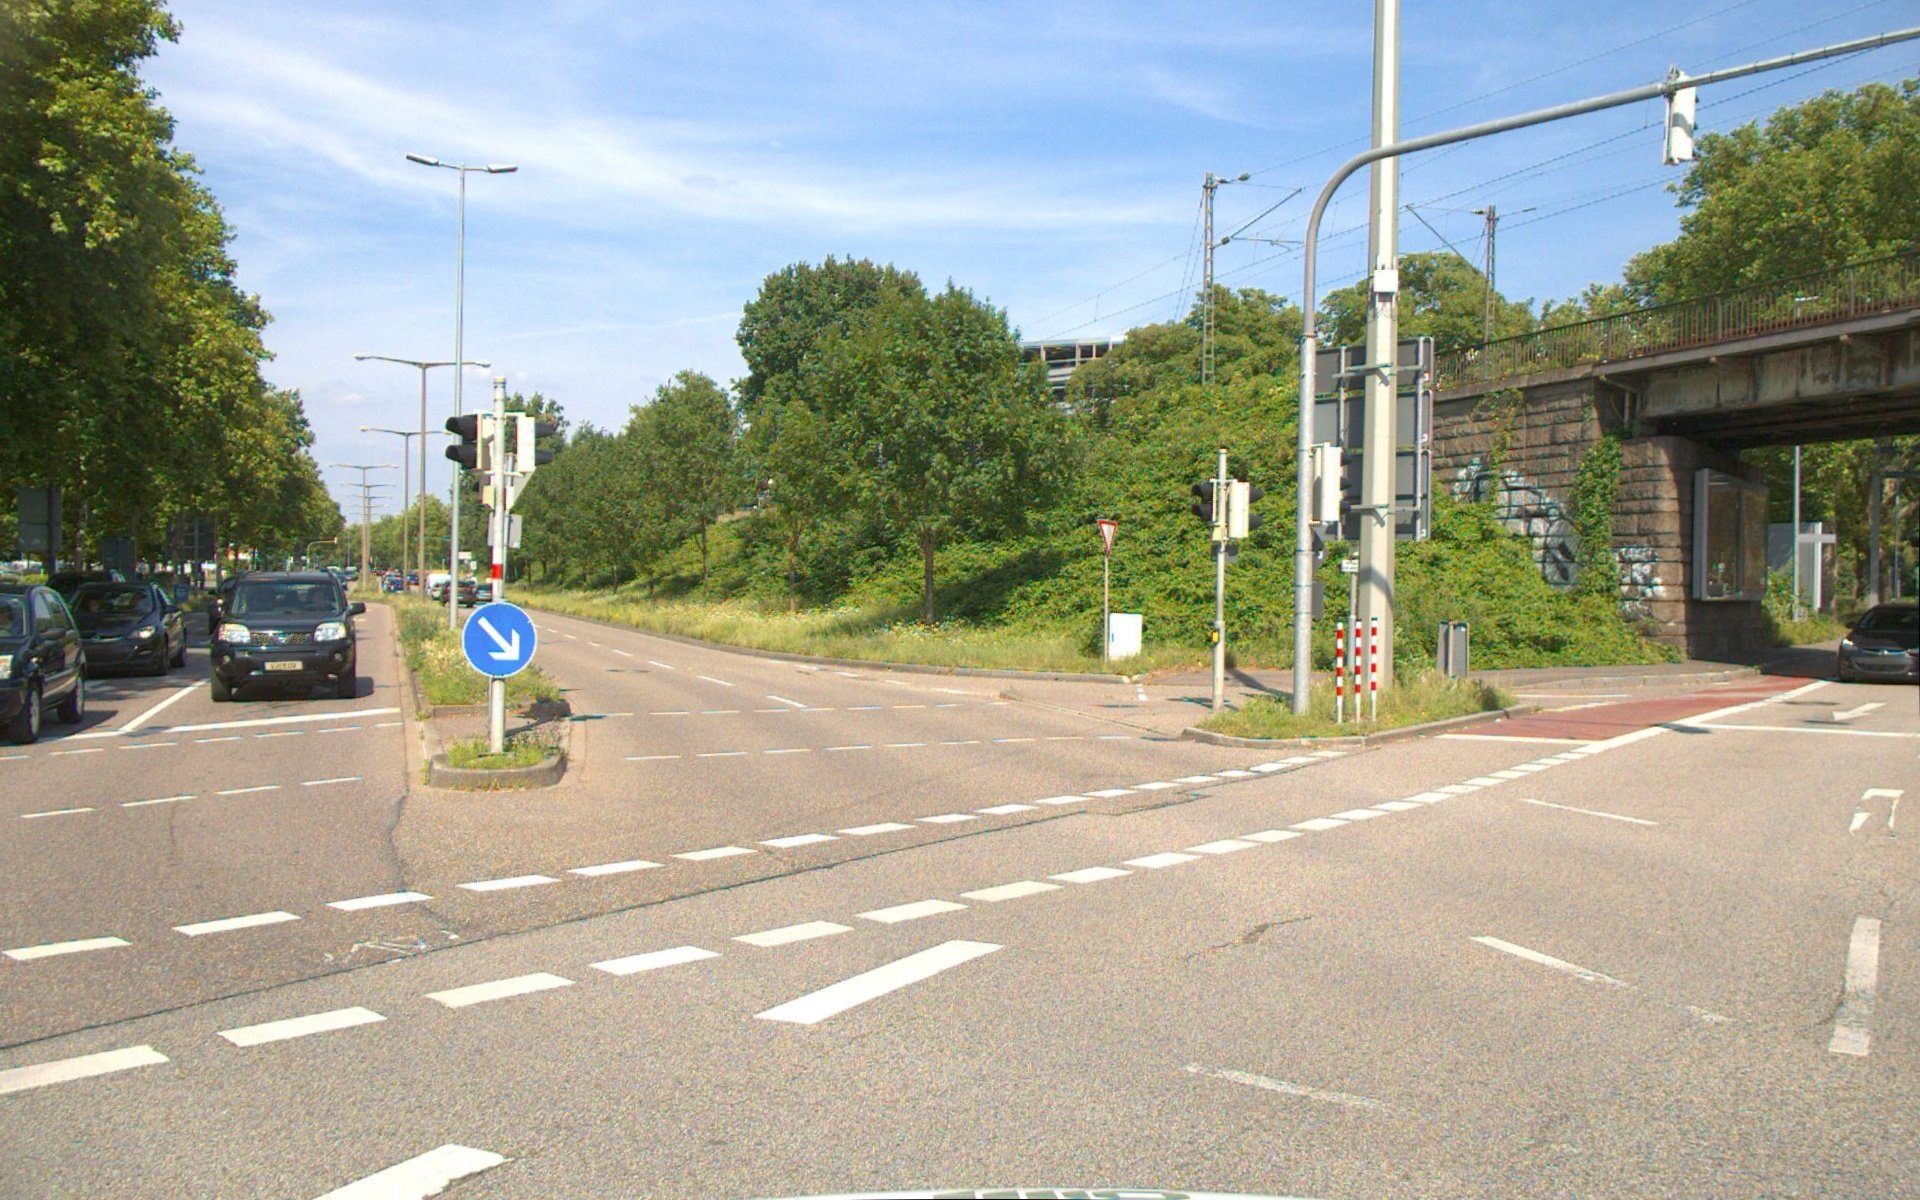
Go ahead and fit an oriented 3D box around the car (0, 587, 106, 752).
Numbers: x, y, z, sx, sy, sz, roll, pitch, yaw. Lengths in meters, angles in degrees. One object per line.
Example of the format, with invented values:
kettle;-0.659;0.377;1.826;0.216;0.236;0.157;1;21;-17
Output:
car;-10.122;0.635;17.140;1.735;1.501;3.935;1;1;-20

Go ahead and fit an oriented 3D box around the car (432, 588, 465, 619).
car;-30.205;0.184;97.587;1.710;1.562;3.979;1;2;-19

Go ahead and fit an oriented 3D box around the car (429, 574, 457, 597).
car;-40.050;-1.100;128.107;1.963;1.738;4.240;1;0;-19

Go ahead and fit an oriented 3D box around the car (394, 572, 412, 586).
car;-66.334;-2.512;196.773;1.964;1.691;4.223;1;0;-19

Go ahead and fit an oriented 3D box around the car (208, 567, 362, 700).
car;-9.238;0.372;22.863;1.781;1.643;4.464;0;1;-21

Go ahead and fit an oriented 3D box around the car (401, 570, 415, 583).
car;-82.303;-3.510;246.649;1.884;1.878;3.975;1;1;-21

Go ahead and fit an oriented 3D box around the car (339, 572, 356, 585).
car;-87.702;-3.094;236.722;1.961;1.806;3.982;0;0;-16

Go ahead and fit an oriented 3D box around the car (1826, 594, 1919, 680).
car;18.456;0.675;31.850;4.179;1.533;1.801;1;0;-42

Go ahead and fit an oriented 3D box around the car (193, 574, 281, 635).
car;-20.607;0.079;47.275;1.964;1.639;4.470;0;1;-20

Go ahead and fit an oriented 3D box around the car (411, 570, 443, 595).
car;-36.586;-1.211;113.577;1.964;1.713;3.977;1;1;-20

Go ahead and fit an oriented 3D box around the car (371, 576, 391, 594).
car;-61.492;-1.582;175.642;1.884;1.878;3.975;1;1;-21

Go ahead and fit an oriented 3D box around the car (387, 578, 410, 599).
car;-43.460;-0.874;127.962;1.602;1.509;4.025;3;0;-20

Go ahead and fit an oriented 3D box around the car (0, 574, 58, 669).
car;-17.984;0.368;30.223;1.859;1.618;4.421;-1;1;-19

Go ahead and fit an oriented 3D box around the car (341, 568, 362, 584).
car;-59.333;-2.338;161.330;1.746;1.493;4.645;0;0;-19

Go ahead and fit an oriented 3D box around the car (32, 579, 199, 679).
car;-13.964;0.415;27.586;1.808;1.488;4.492;-2;1;-19

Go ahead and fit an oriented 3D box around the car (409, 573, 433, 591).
car;-50.781;-1.711;155.779;1.964;1.657;4.064;1;1;-20

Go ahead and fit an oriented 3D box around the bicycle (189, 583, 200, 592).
bicycle;-71.102;-1.145;153.636;0.679;0.881;1.915;0;0;-19

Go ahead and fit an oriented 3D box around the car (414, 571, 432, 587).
car;-64.616;-2.516;198.938;1.884;1.878;3.975;1;1;-21

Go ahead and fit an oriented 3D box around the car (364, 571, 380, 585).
car;-82.114;-3.095;231.051;1.963;1.892;3.979;1;0;-18

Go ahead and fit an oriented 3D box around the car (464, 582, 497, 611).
car;-34.033;-0.264;117.403;1.988;1.869;3.979;1;2;-19

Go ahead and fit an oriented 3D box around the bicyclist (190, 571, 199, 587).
bicyclist;-71.181;-1.962;153.770;0.671;1.511;0.936;0;0;-20
